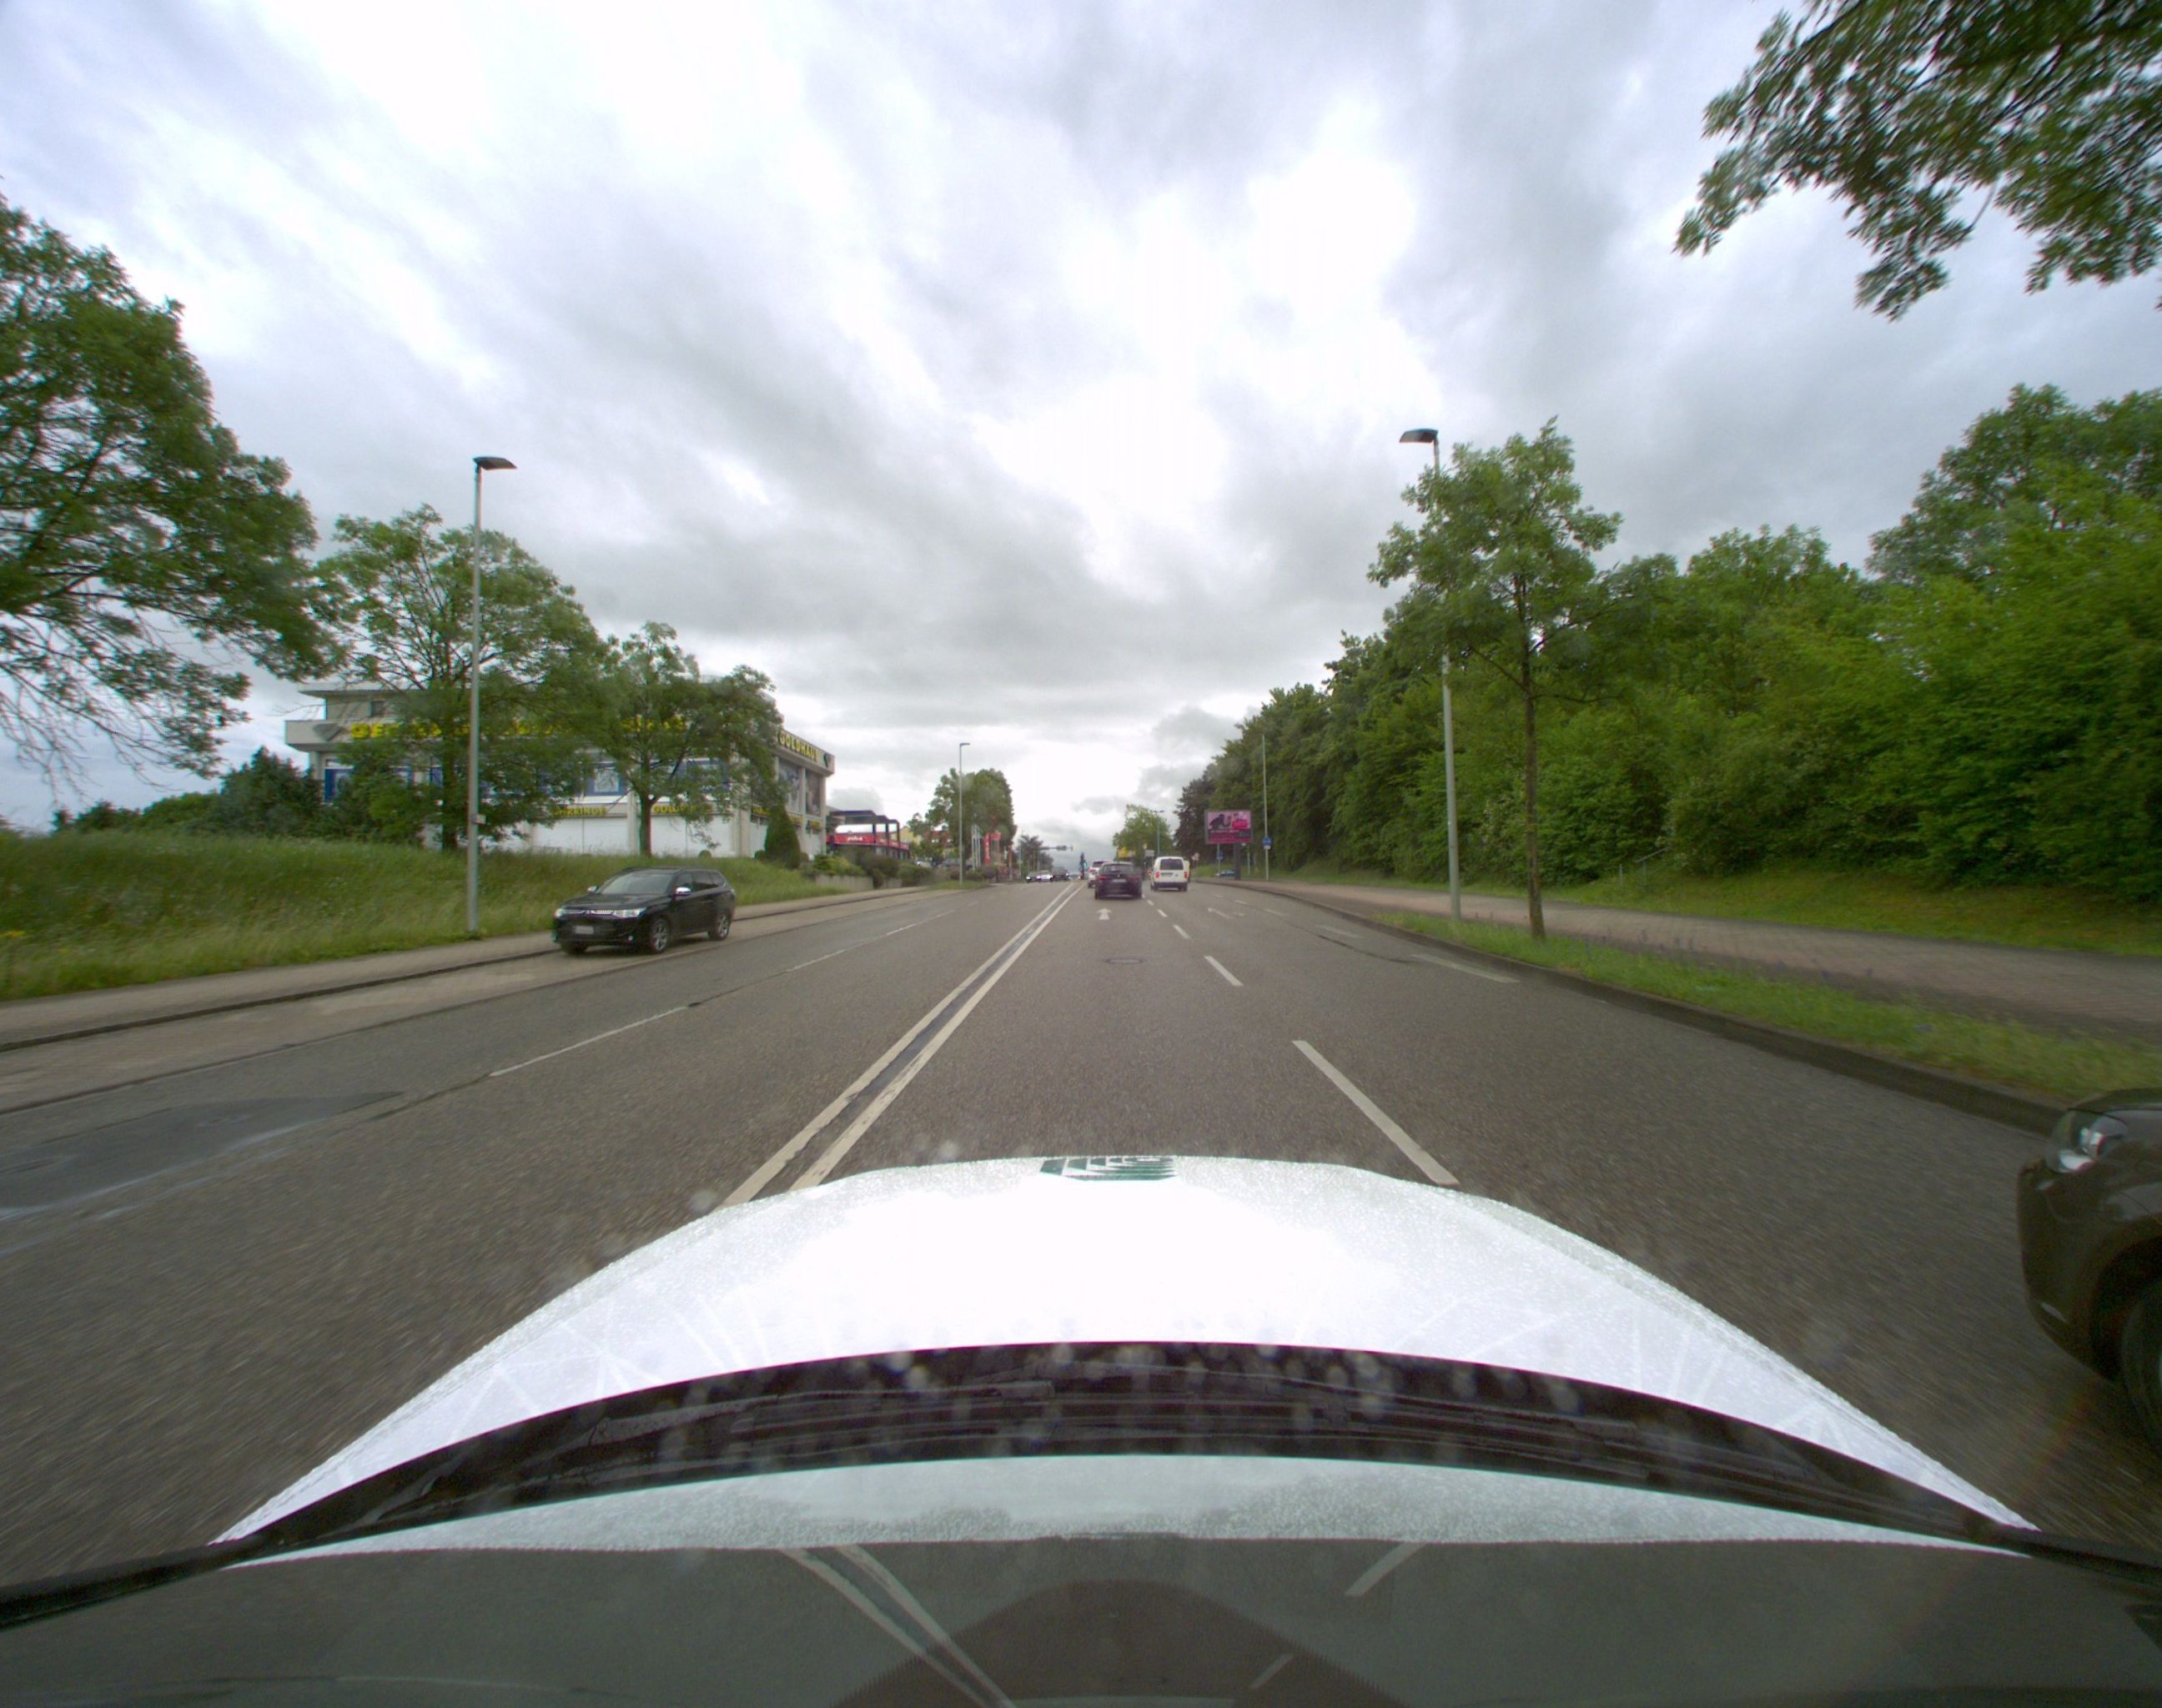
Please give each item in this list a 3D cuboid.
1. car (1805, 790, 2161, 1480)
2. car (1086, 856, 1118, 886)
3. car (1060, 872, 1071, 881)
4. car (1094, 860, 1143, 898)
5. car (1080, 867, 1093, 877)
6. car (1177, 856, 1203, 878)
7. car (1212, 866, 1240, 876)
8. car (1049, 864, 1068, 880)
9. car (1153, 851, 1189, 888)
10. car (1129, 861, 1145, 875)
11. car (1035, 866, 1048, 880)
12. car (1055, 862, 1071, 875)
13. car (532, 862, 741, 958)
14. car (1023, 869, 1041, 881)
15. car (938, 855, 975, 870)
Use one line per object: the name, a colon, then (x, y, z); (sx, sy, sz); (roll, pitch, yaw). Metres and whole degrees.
car: (3.319, 0.644, 0.750); (1.707, 1.596, 4.132); (0, 0, 1)
car: (1.308, 1.006, 49.028); (1.720, 1.711, 3.387); (0, 0, 5)
car: (-2.586, 3.812, 135.573); (1.662, 1.398, 3.998); (-3, -1, -1)
car: (1.561, 0.952, 32.791); (1.847, 1.419, 3.961); (0, 0, 4)
car: (0.808, 2.800, 125.391); (1.890, 1.456, 4.093); (-1, -2, -2)
car: (9.144, 1.058, 68.463); (1.806, 1.708, 3.949); (-1, 0, 3)
car: (23.402, 2.743, 131.432); (3.997, 1.294, 1.599); (-2, 0, -17)
car: (-2.430, 1.882, 88.242); (1.789, 1.584, 4.198); (-2, 0, 0)
car: (4.766, 0.807, 43.589); (1.734, 1.869, 3.949); (0, 0, 3)
car: (5.837, 1.465, 84.905); (1.594, 1.372, 3.683); (-2, 0, 3)
car: (-6.165, 2.979, 128.164); (1.791, 1.983, 4.895); (-3, -1, -1)
car: (-2.404, 1.891, 108.356); (1.816, 1.607, 4.284); (-3, -1, 1)
car: (-8.889, 1.033, 16.818); (1.719, 1.668, 4.489); (0, 0, 2)
car: (-6.215, 2.640, 104.204); (1.786, 1.401, 4.302); (-3, -1, 2)
car: (-13.475, 0.914, 88.512); (3.821, 1.482, 1.738); (-1, -1, -6)
